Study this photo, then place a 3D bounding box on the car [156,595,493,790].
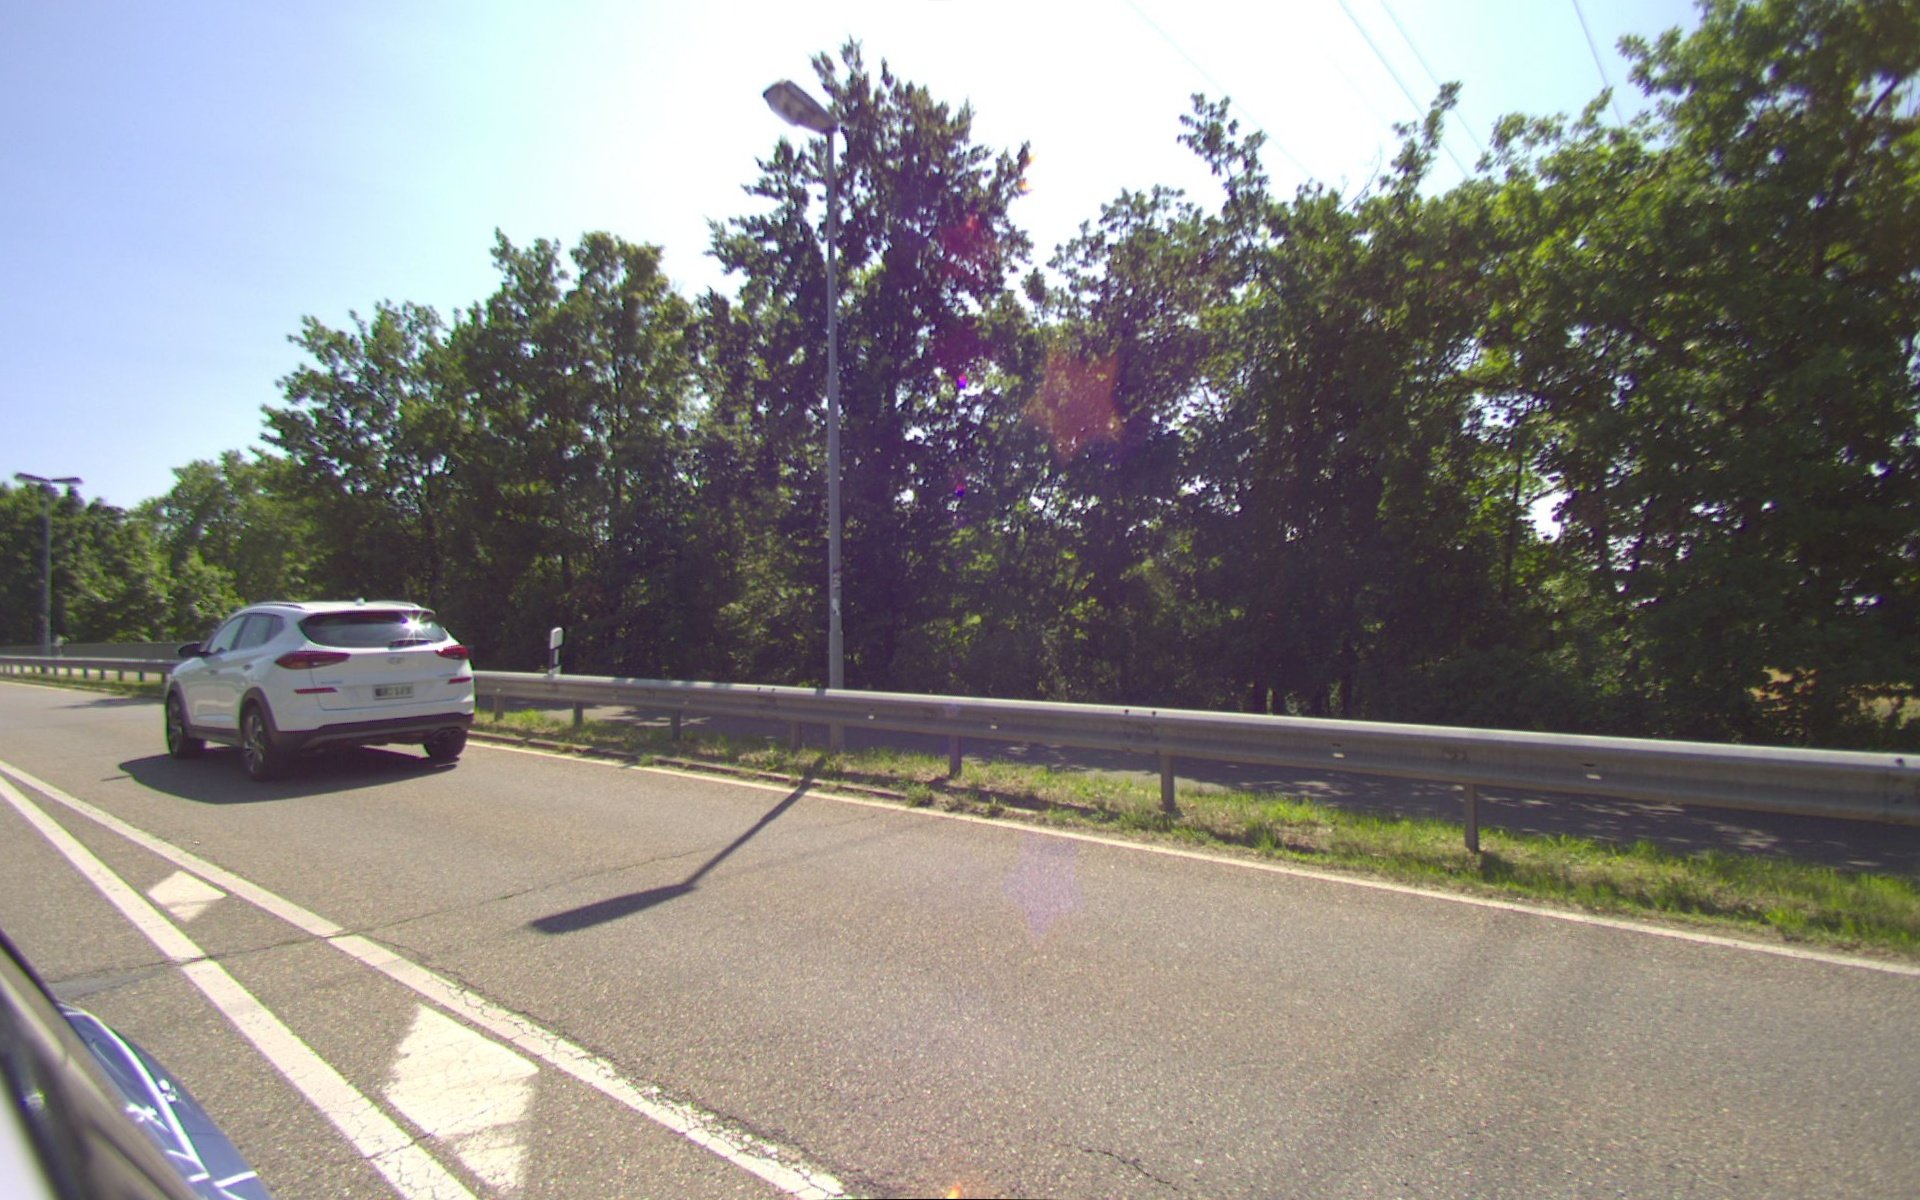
[{"bbox_3d":[-6.774,0.828,10.618,4.137,1.652,1.806,-2,-1,40],"label":"car"}]
